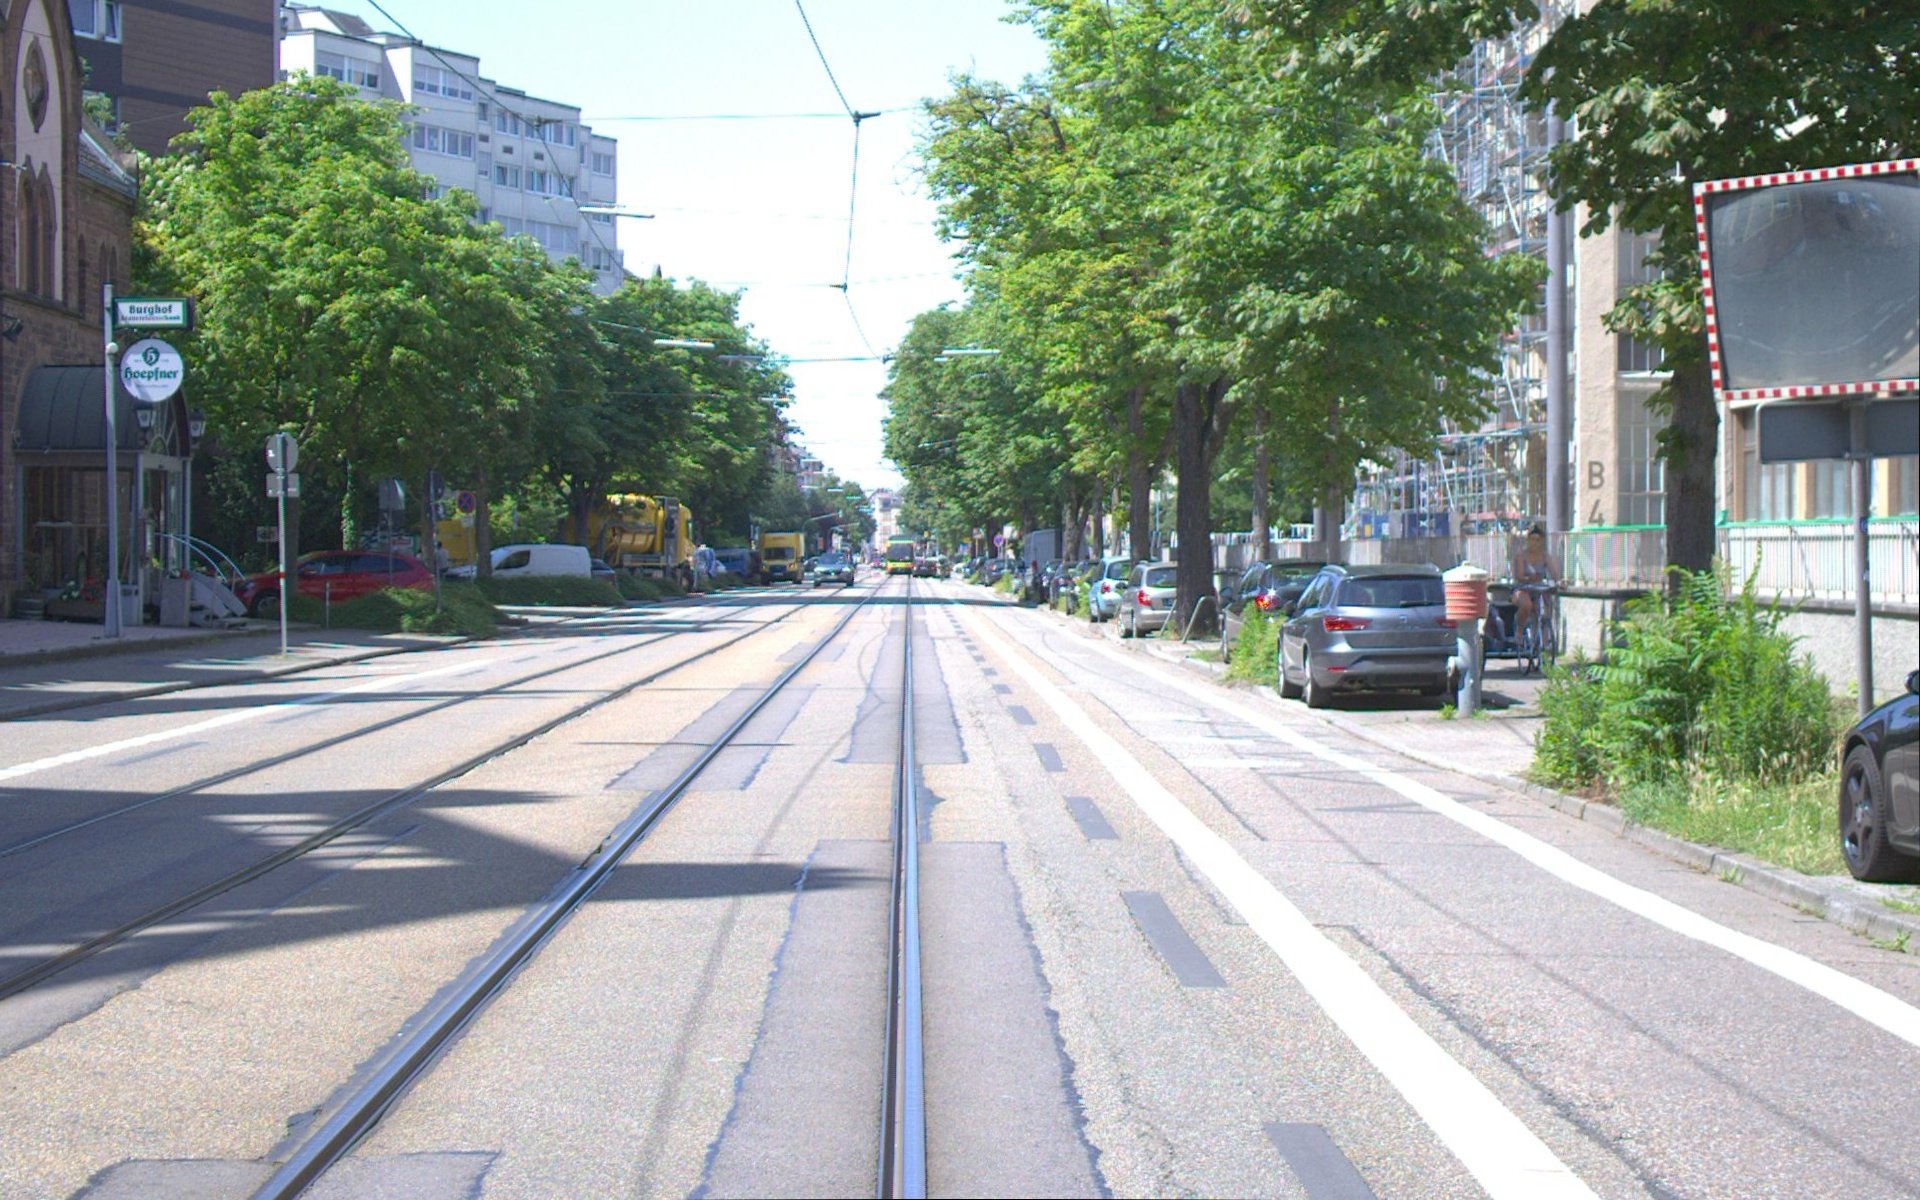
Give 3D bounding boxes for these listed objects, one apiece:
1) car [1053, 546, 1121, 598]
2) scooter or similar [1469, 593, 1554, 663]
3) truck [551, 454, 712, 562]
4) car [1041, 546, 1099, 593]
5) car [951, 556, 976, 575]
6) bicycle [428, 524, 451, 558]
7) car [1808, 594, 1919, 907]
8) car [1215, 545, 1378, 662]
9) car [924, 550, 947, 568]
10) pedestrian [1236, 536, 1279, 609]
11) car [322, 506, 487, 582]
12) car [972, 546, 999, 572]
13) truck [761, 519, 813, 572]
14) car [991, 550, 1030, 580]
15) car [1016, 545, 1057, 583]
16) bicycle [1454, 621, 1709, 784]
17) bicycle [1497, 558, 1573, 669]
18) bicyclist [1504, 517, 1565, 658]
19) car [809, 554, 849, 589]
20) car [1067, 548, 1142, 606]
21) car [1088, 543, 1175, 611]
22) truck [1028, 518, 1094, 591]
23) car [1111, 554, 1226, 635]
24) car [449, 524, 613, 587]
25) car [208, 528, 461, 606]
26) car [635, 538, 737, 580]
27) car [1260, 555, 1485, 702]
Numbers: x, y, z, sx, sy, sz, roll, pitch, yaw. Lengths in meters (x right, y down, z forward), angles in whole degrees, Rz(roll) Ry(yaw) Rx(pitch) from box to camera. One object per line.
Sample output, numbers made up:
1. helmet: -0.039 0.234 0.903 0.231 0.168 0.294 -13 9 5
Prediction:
1. car: 3.637 -0.822 98.917 1.824 1.466 4.486 0 1 1
2. scooter or similar: 6.815 0.338 42.552 0.761 0.804 1.556 -2 1 0
3. truck: -12.636 -3.482 133.528 2.717 3.828 10.957 2 0 14
4. car: 3.516 -0.994 109.858 1.824 1.466 4.400 0 1 2
5. car: 0.266 -2.524 252.515 1.710 1.418 4.310 0 0 -1
6. bicycle: -16.473 -1.860 108.775 0.518 1.043 1.876 2 1 -3
7. car: 4.861 0.662 14.095 1.751 1.266 3.834 2 1 0
8. car: 4.443 0.013 45.883 1.671 1.484 3.981 0 1 -2
9. car: -1.850 -3.121 260.321 1.781 1.341 3.416 0 1 0
10. pedestrian: 6.498 -0.603 75.067 0.799 1.583 0.919 -1 1 -2
11. car: -20.216 -2.004 125.419 2.182 2.557 6.713 1 0 29
12. car: 1.600 -2.543 215.009 1.592 1.611 3.908 0 0 -1
13. truck: -9.538 -3.013 189.920 2.360 2.843 7.378 -1 1 1
14. car: 2.561 -1.754 173.980 1.639 1.480 3.873 0 0 -4
15. car: 3.119 -1.470 140.017 1.644 1.529 3.785 0 1 1
16. bicycle: 4.133 0.677 22.933 1.585 1.056 0.562 0 1 -2
17. bicycle: 6.829 0.147 40.896 0.555 1.261 1.774 -2 1 0
18. bicyclist: 6.800 -0.154 40.720 0.580 1.642 0.599 -1 1 -1
19. car: -6.382 -1.420 168.246 1.831 1.675 4.185 0 1 -1
20. car: 3.712 -0.607 88.846 1.671 1.433 4.042 0 1 -2
21. car: 3.932 -0.545 79.307 1.671 1.512 4.202 0 1 -2
22. truck: 3.523 -1.609 120.552 2.014 2.480 5.956 0 1 -1
23. car: 3.989 -0.130 66.321 1.671 1.494 4.366 0 1 -4
24. car: -12.990 -1.346 104.142 4.534 1.785 1.901 1 1 -33
25. car: -12.988 -0.684 71.448 4.764 1.561 2.002 0 1 -29
26. car: -12.994 -1.952 163.175 1.920 1.928 4.745 -1 1 42
27. car: 4.247 0.250 36.044 1.671 1.403 4.749 0 1 -2
